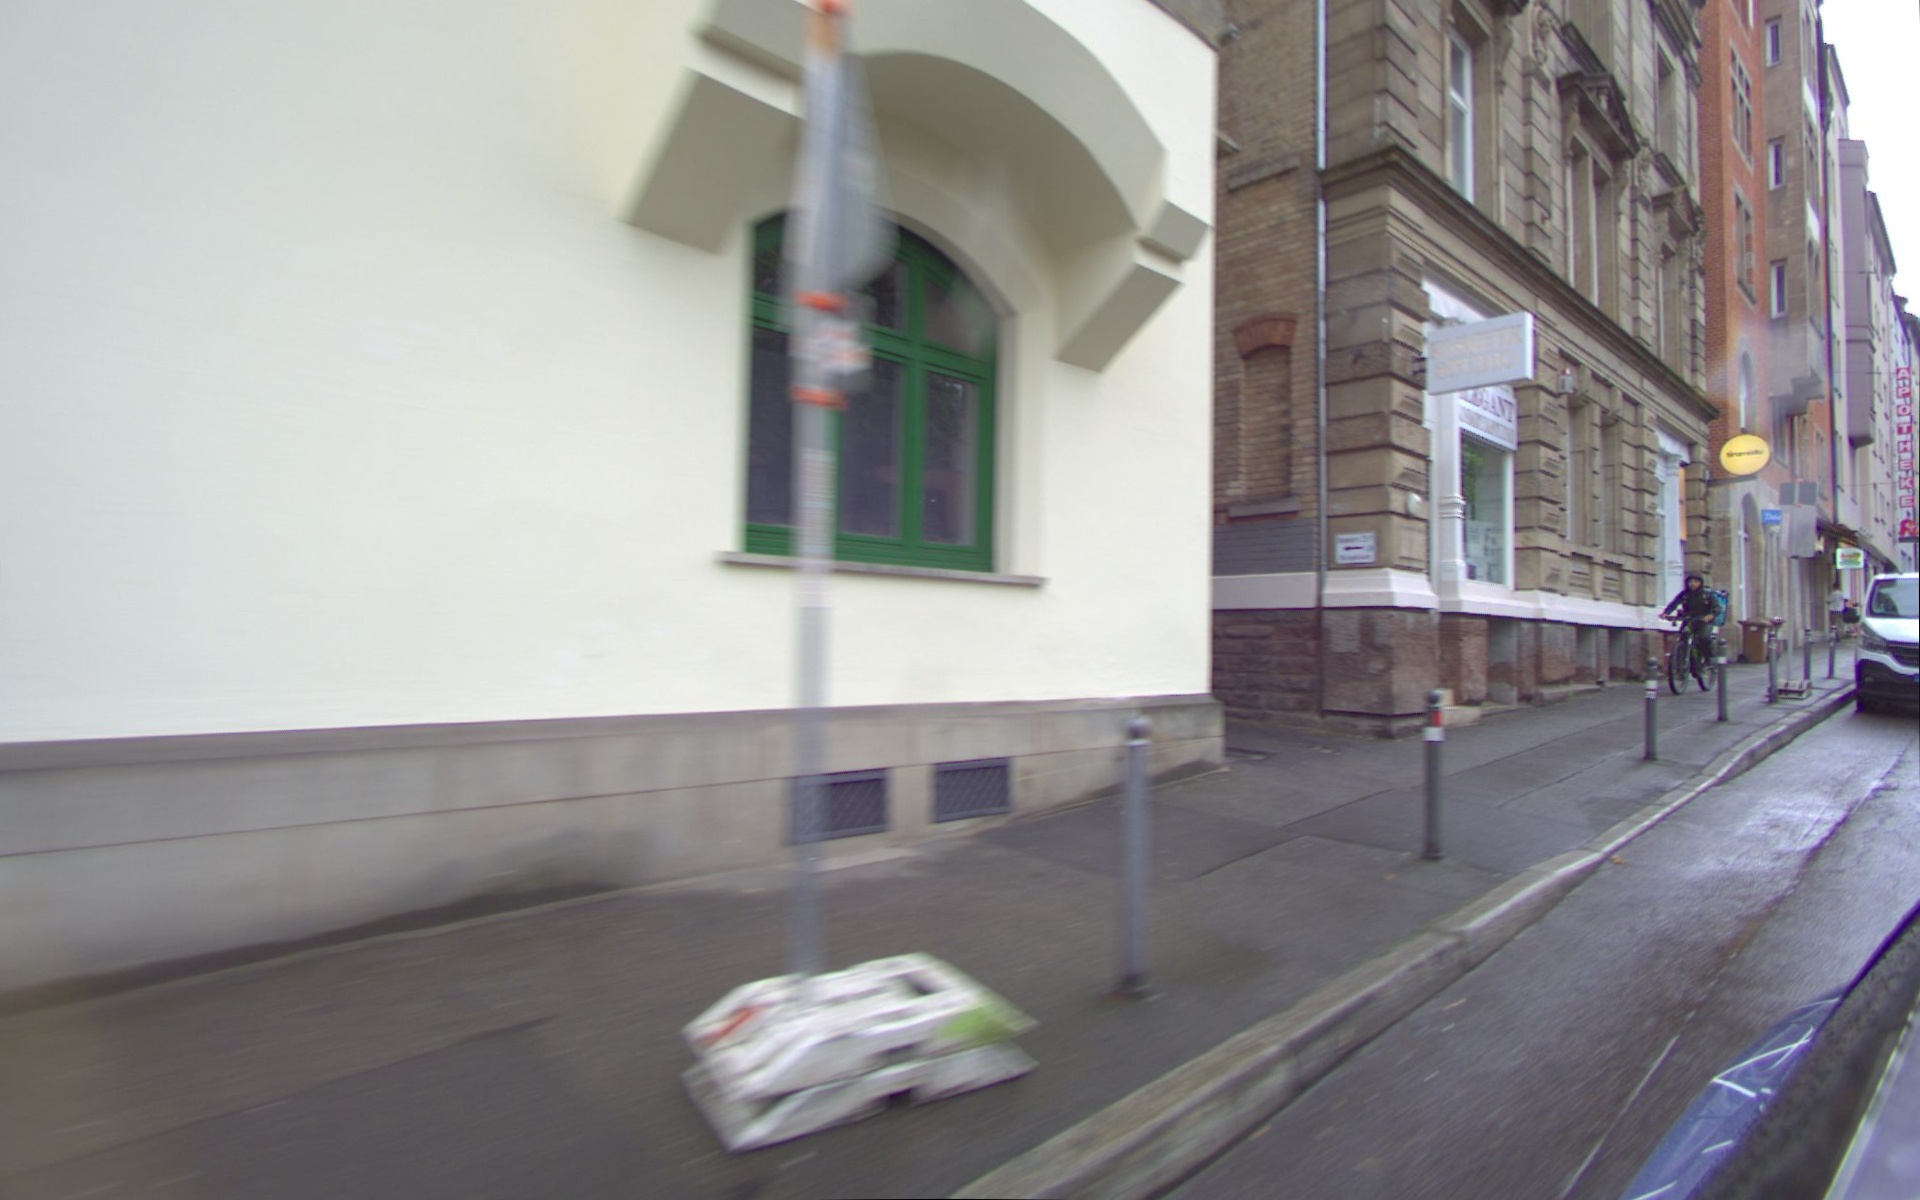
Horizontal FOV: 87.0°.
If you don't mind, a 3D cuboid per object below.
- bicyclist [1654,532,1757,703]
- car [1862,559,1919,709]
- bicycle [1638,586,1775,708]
[{"bbox_3d":[10.572,0.238,14.346,1.265,2.292,0.919,0,-1,-42],"label":"bicyclist"},{"bbox_3d":[14.811,0.401,14.726,5.888,1.929,1.822,-1,-1,-42],"label":"car"},{"bbox_3d":[10.645,0.606,14.371,3.081,1.574,0.935,0,-1,-42],"label":"bicycle"}]
